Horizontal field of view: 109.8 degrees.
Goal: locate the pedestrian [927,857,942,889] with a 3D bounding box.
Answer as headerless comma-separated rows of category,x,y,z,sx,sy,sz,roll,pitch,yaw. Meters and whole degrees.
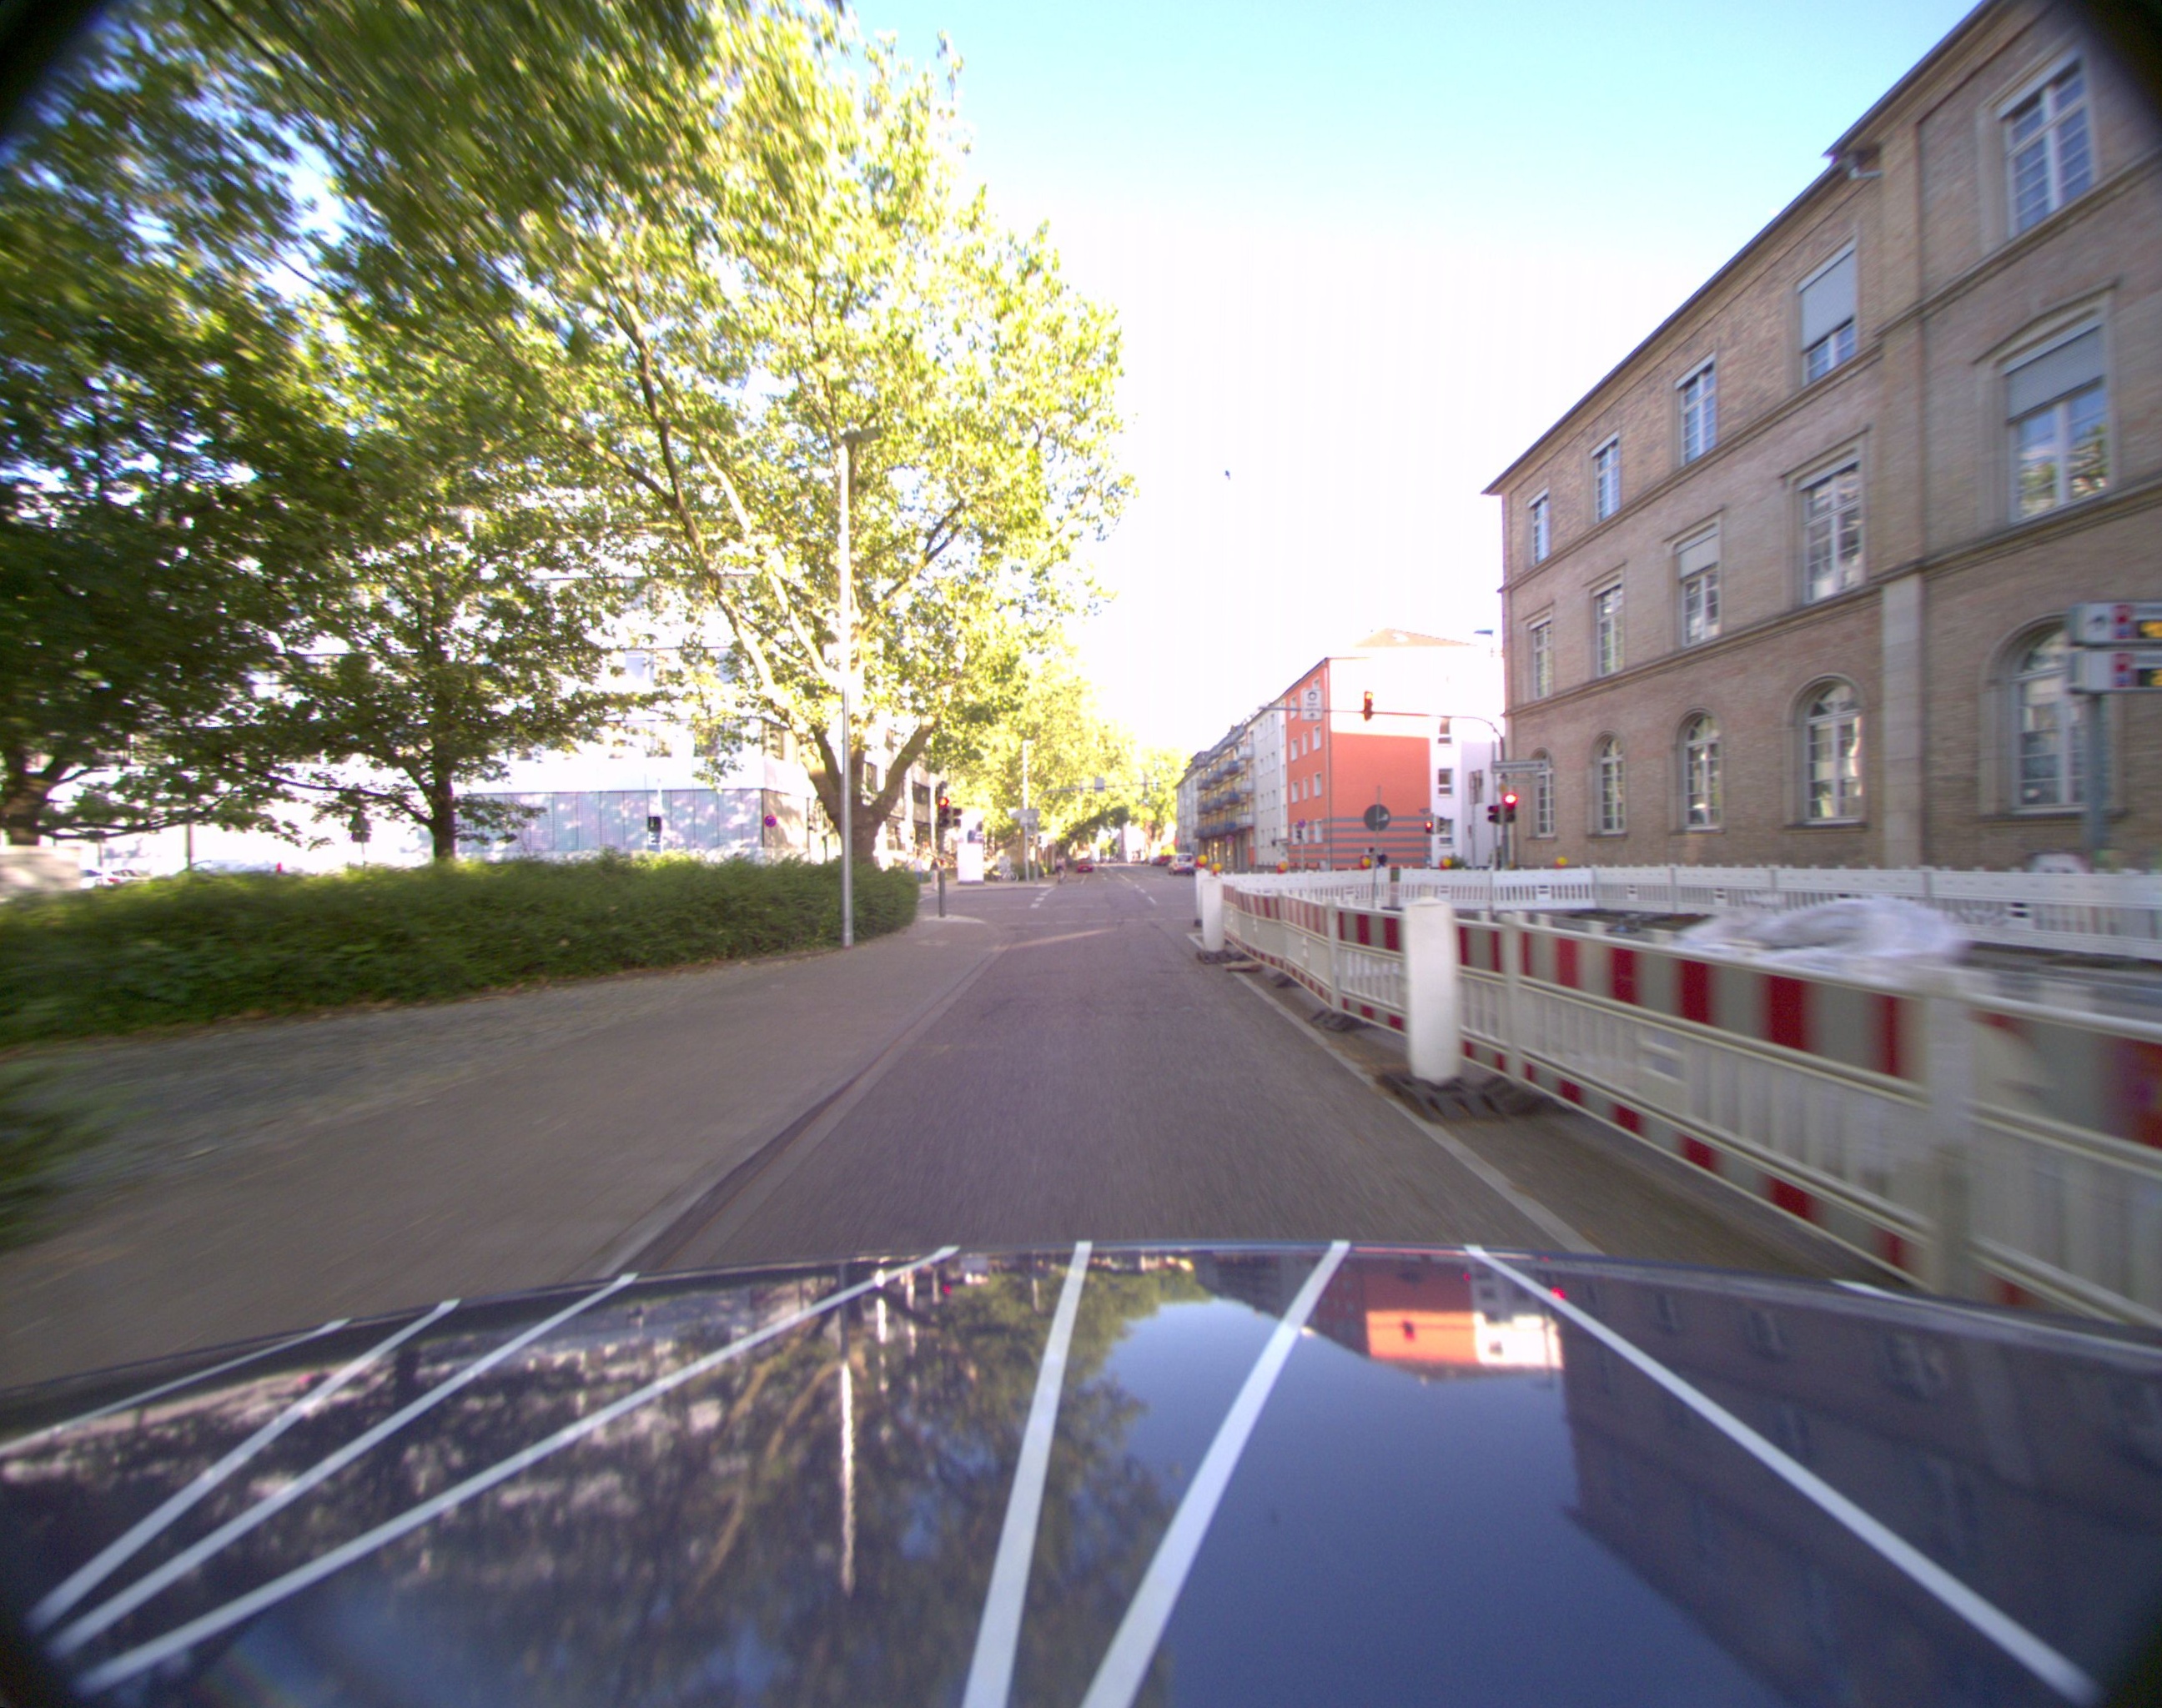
pedestrian,-6.926,0.893,35.879,0.673,1.515,0.560,-1,1,-11

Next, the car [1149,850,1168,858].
car,16.355,0.077,160.984,3.996,1.689,1.834,-1,0,2

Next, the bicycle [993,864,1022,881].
bicycle,-4.439,1.096,45.951,1.638,0.993,0.621,1,2,-25

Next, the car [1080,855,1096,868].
car,0.753,0.879,88.605,1.786,1.520,4.657,-1,0,0

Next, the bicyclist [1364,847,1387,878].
bicyclist,13.392,0.390,34.552,0.837,1.364,0.793,1,-1,14

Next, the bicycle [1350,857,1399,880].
bicycle,13.318,0.664,34.566,1.989,0.993,0.791,0,-2,14

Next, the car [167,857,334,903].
car,-35.328,1.072,32.441,4.717,1.818,2.109,-1,0,-1

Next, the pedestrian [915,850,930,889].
pedestrian,-7.484,0.723,35.912,0.604,1.828,0.569,-1,1,-15

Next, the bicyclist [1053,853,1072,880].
bicyclist,-1.175,0.779,47.928,0.949,1.630,1.008,-2,0,8

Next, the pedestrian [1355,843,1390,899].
pedestrian,9.297,0.541,24.262,0.883,1.761,0.748,-1,0,11

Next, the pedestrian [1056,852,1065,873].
pedestrian,-1.834,0.742,67.886,0.671,1.786,0.665,-4,1,-5

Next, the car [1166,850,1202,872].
car,8.537,0.608,63.393,1.999,1.806,5.124,-1,-1,-4

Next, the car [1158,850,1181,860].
car,15.723,0.178,135.589,3.996,1.689,1.834,-1,0,2

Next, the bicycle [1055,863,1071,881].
bicycle,-1.116,1.144,47.937,0.703,1.060,1.930,-1,-1,8

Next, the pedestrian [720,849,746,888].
pedestrian,-16.174,0.675,35.315,0.997,1.762,0.604,-1,3,-31
